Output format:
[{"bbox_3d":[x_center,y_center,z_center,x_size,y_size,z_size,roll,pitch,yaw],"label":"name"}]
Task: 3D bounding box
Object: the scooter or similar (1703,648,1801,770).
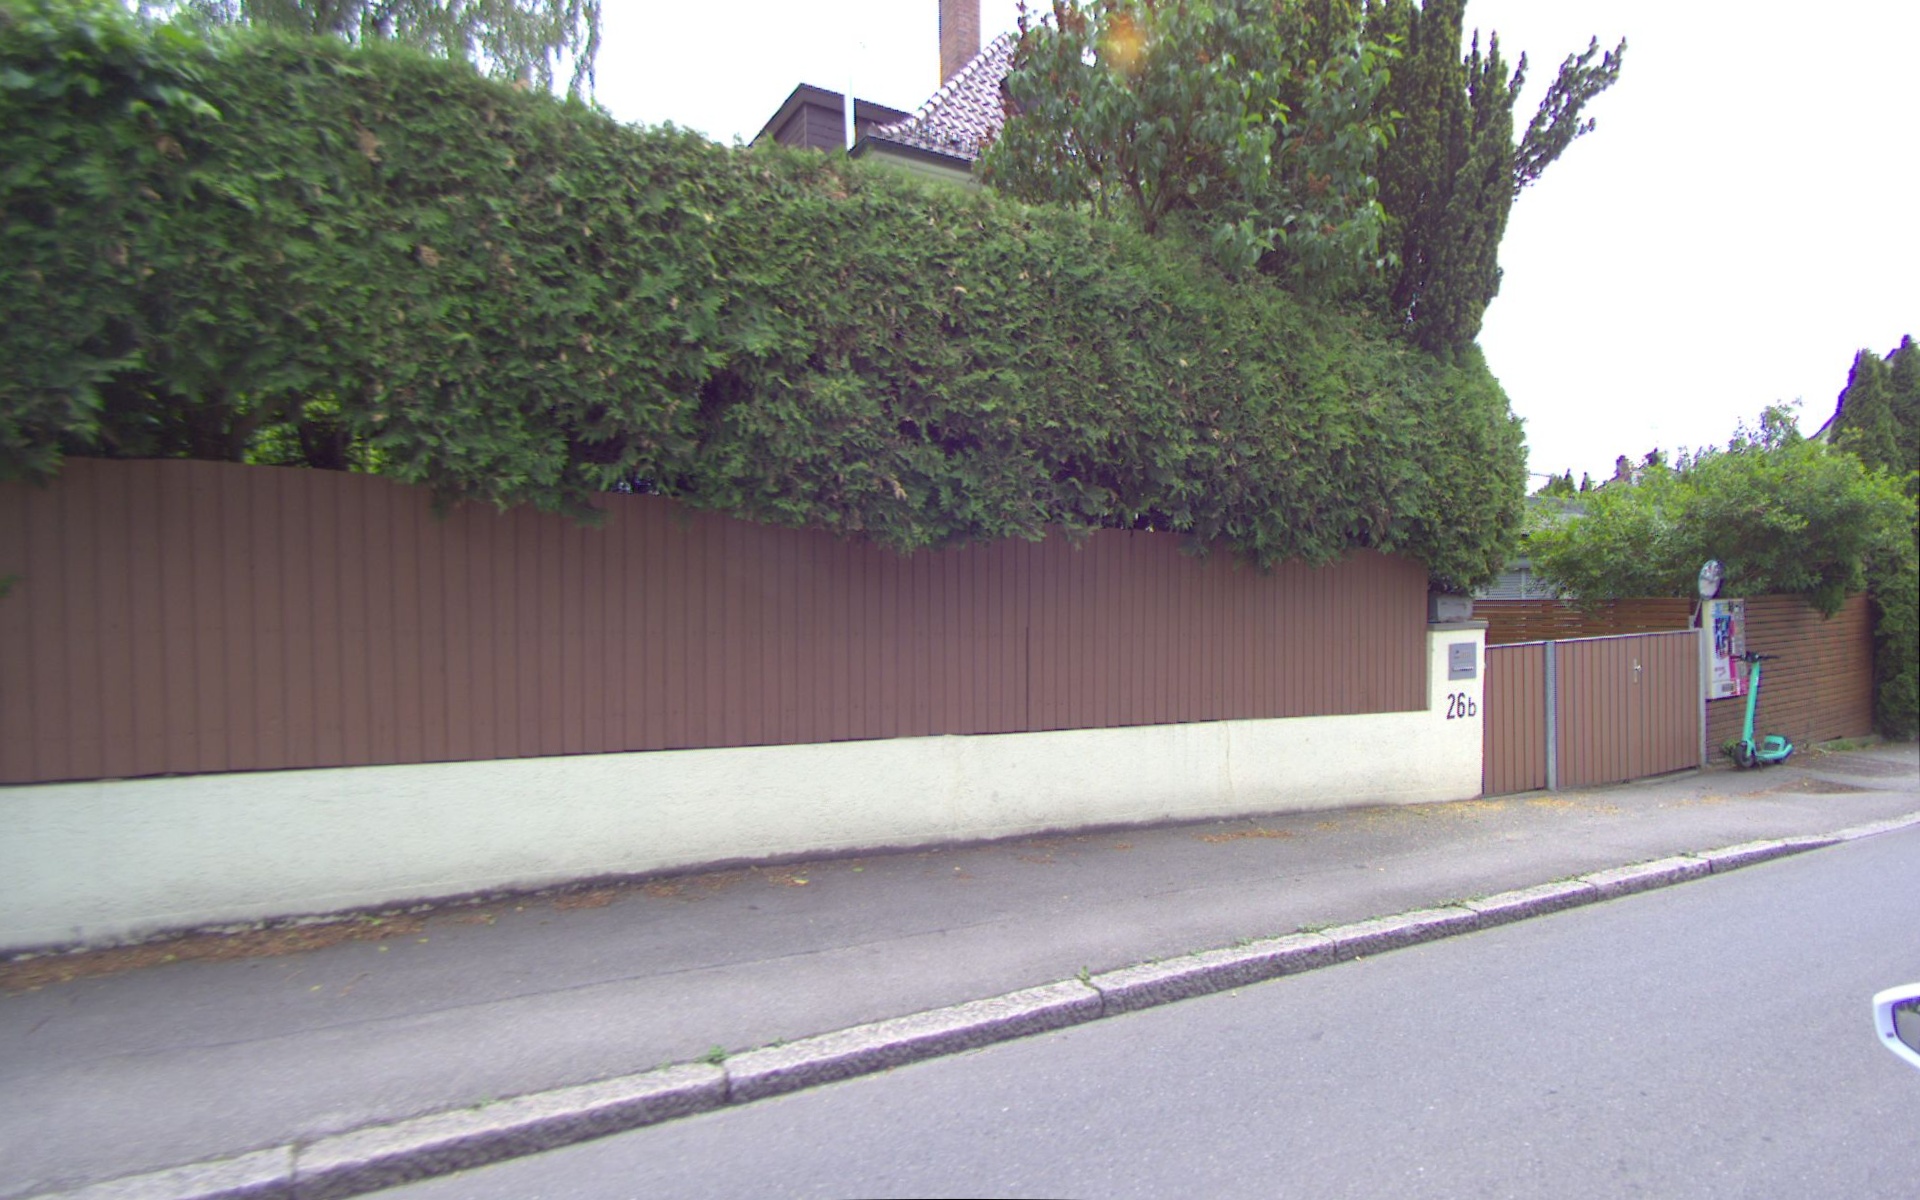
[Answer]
[{"bbox_3d":[8.257,1.104,10.463,1.256,1.187,0.389,1,0,-31],"label":"scooter or similar"}]
